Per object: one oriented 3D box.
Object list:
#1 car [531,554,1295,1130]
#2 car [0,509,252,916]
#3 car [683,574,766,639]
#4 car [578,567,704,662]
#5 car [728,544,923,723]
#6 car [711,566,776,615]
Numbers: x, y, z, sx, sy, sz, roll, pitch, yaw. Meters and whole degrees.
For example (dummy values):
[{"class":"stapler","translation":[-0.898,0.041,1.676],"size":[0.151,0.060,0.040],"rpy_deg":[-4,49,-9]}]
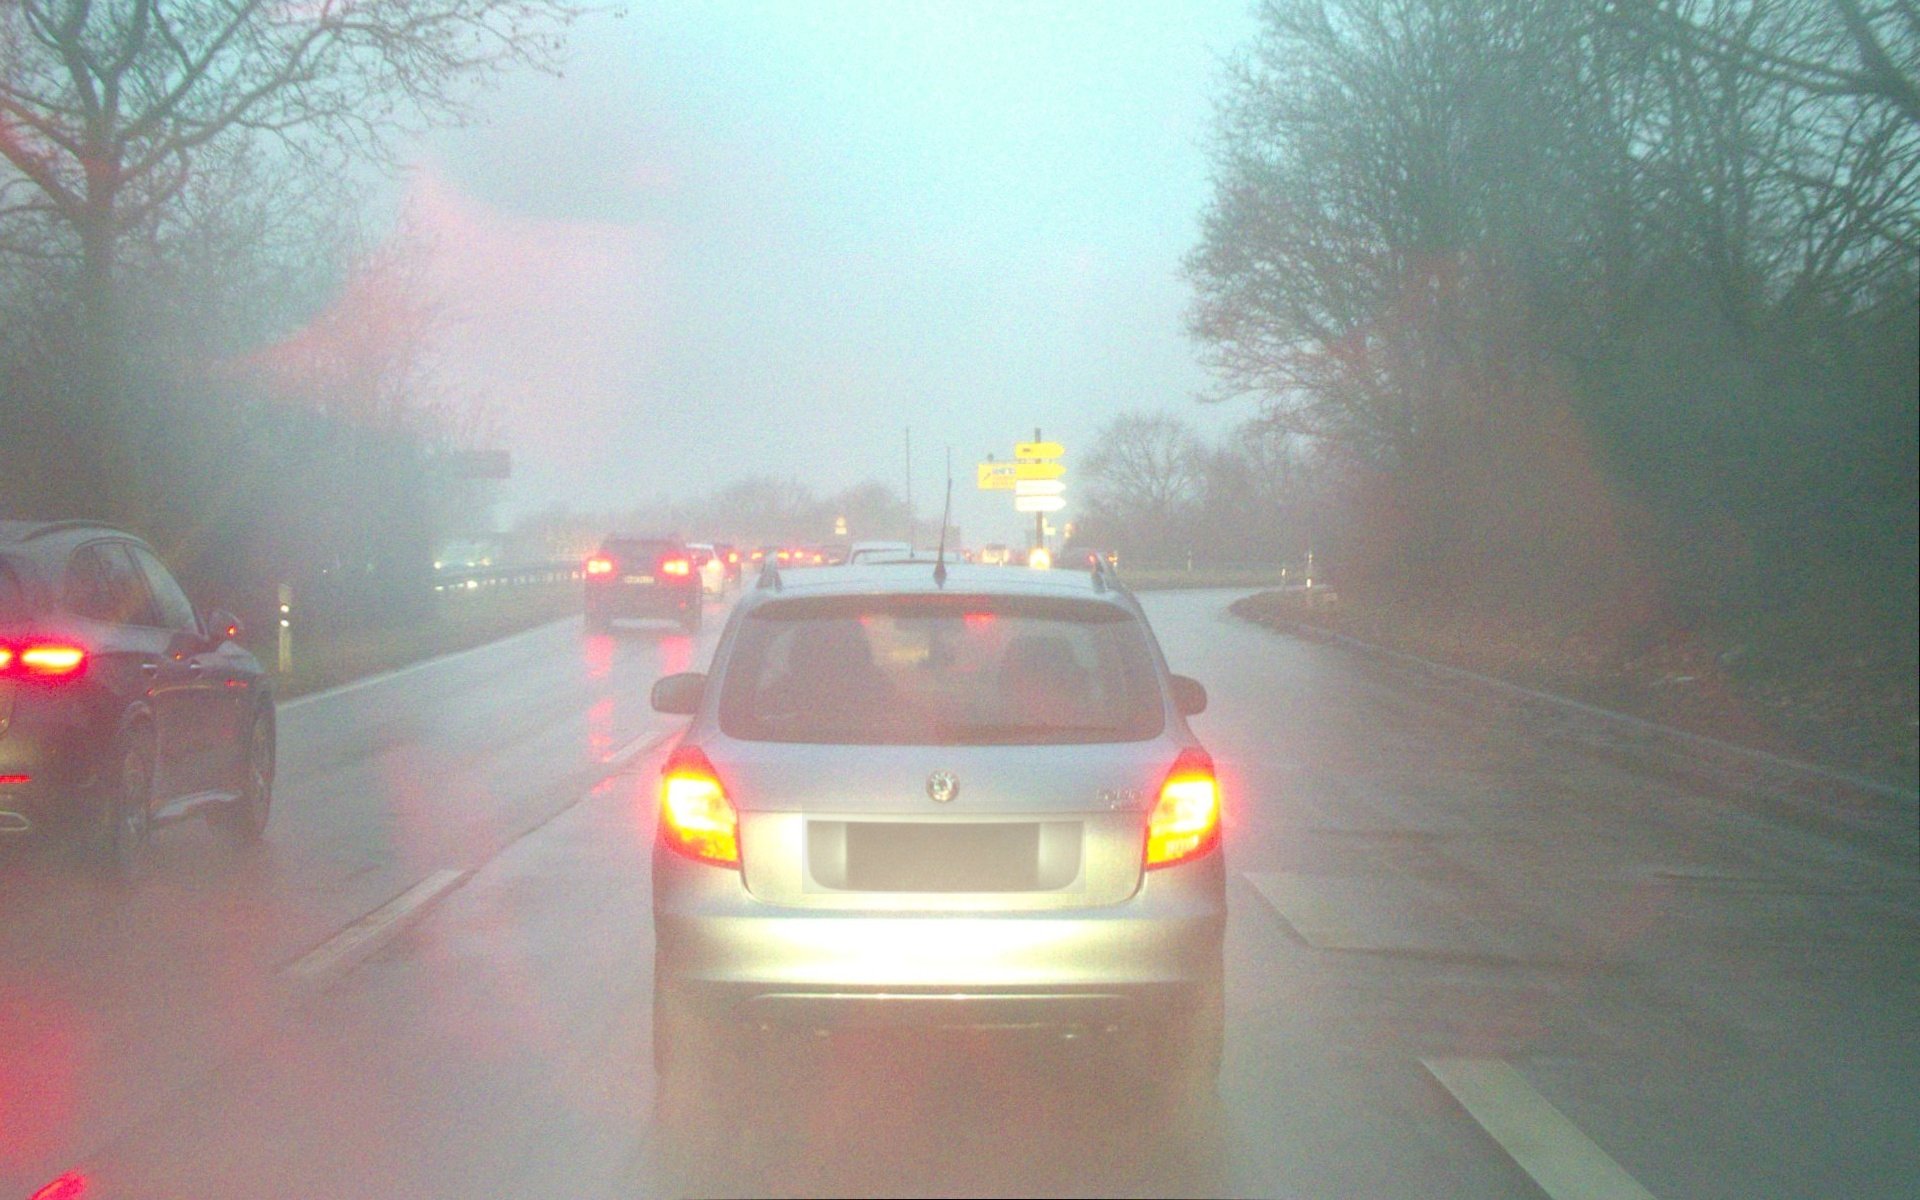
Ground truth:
[{"class":"car","translation":[-0.133,0.626,11.090],"size":[1.993,1.495,4.138],"rpy_deg":[0,0,0]},{"class":"car","translation":[-4.616,0.398,15.653],"size":[1.993,1.596,4.309],"rpy_deg":[1,1,-2]},{"class":"car","translation":[-5.812,0.144,85.193],"size":[1.789,1.540,4.000],"rpy_deg":[-1,0,0]},{"class":"car","translation":[-5.395,0.215,58.560],"size":[1.789,1.540,4.000],"rpy_deg":[-1,0,0]},{"class":"car","translation":[-1.359,0.303,36.255],"size":[1.897,1.761,4.309],"rpy_deg":[0,1,0]},{"class":"car","translation":[-6.747,-0.307,107.506],"size":[1.789,1.478,4.000],"rpy_deg":[-1,0,0]}]
